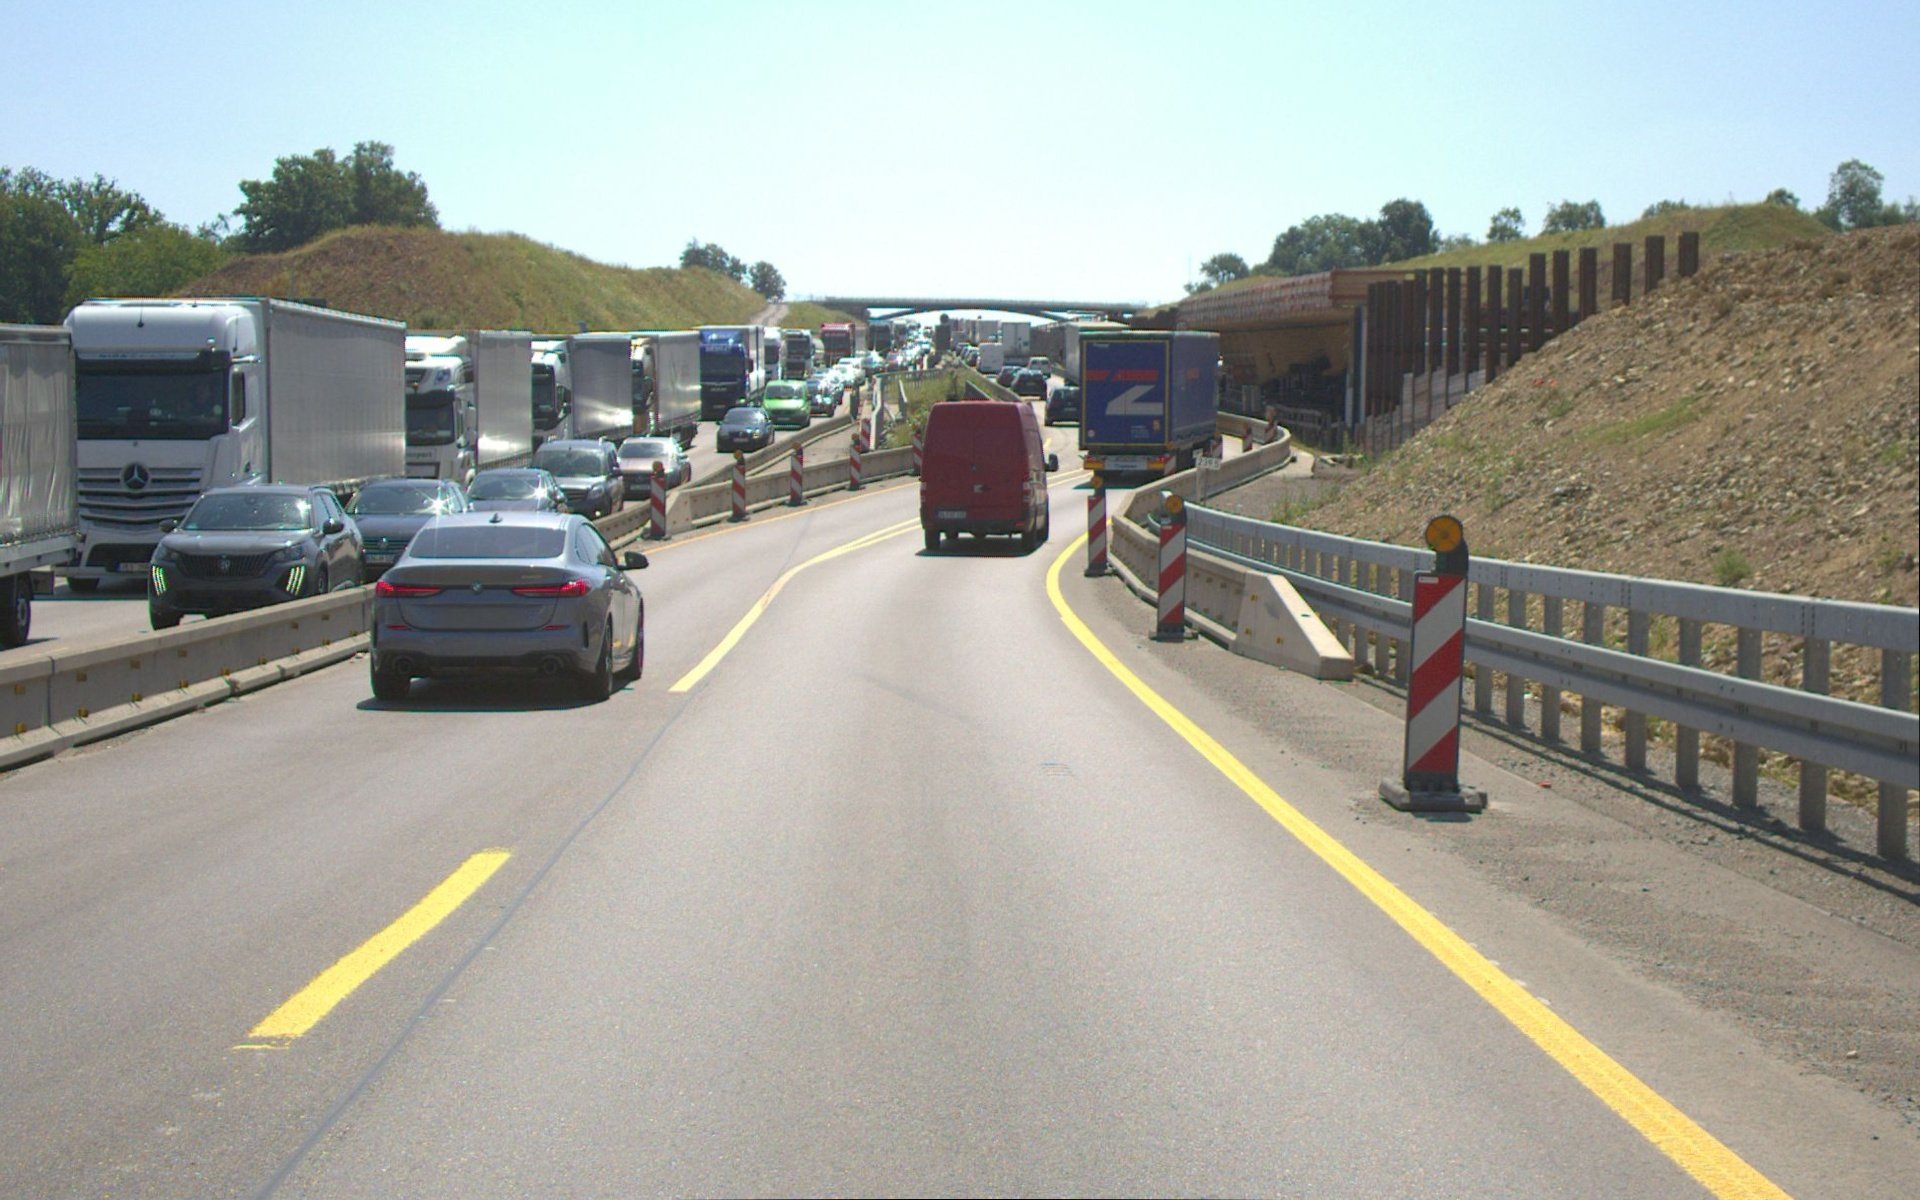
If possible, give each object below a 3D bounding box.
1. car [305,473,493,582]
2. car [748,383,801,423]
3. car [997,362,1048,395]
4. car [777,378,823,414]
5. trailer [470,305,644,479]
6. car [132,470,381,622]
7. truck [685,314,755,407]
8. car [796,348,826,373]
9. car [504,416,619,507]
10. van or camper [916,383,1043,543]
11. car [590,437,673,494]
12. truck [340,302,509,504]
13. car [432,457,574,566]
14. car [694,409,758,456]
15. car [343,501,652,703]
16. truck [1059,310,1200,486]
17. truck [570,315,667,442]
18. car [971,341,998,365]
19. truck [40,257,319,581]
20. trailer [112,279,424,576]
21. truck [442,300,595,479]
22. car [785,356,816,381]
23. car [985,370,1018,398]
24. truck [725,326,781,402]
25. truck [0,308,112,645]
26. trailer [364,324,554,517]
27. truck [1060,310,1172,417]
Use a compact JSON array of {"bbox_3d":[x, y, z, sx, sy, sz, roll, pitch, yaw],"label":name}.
[{"bbox_3d":[-7.809,-1.054,48.226,1.902,1.371,4.547,-2,2,-1],"label":"car"},{"bbox_3d":[-7.508,-7.976,139.517,1.952,1.524,4.268,0,2,-1],"label":"car"},{"bbox_3d":[3.405,-12.021,186.591,2.289,1.525,4.357,-2,1,6],"label":"car"},{"bbox_3d":[-7.239,-9.257,156.164,1.952,1.524,4.268,0,2,-1],"label":"car"},{"bbox_3d":[-11.101,-5.667,95.966,3.042,4.536,12.127,0,2,2],"label":"trailer"},{"bbox_3d":[-7.572,-0.606,37.405,1.827,1.530,4.547,-1,1,-1],"label":"car"},{"bbox_3d":[-10.666,-10.637,153.272,2.887,3.826,8.003,0,2,-3],"label":"truck"},{"bbox_3d":[-10.111,-16.283,233.785,1.952,1.524,4.268,0,2,-1],"label":"car"},{"bbox_3d":[-8.017,-2.774,69.439,1.993,1.777,4.001,0,2,-2],"label":"car"},{"bbox_3d":[0.307,-2.435,61.434,2.029,2.734,4.516,0,2,-2],"label":"van or camper"},{"bbox_3d":[-8.241,-3.365,86.406,1.747,1.404,4.001,0,2,-1],"label":"car"},{"bbox_3d":[-10.867,-3.948,70.166,2.782,3.856,5.462,0,1,-2],"label":"truck"},{"bbox_3d":[-7.702,-1.511,58.240,1.993,1.777,4.001,0,2,-2],"label":"car"},{"bbox_3d":[-8.053,-5.768,118.638,1.952,1.524,4.268,0,2,-1],"label":"car"},{"bbox_3d":[-3.576,-0.028,27.352,1.851,1.447,4.742,1,1,-1],"label":"car"},{"bbox_3d":[4.824,-5.592,96.328,3.022,4.676,6.930,-1,2,10],"label":"truck"},{"bbox_3d":[-10.858,-7.010,109.911,2.683,3.826,7.387,0,2,-3],"label":"truck"},{"bbox_3d":[1.817,-18.390,256.347,1.952,1.635,4.268,0,2,-1],"label":"car"},{"bbox_3d":[-10.818,-2.479,48.253,2.550,4.216,6.531,0,2,-1],"label":"truck"},{"bbox_3d":[-10.873,-2.671,55.400,2.595,4.242,12.469,0,2,0],"label":"trailer"},{"bbox_3d":[-11.383,-5.402,89.095,3.052,4.465,5.980,0,3,1],"label":"truck"},{"bbox_3d":[-10.556,-15.288,227.311,1.952,1.524,4.268,0,2,-1],"label":"car"},{"bbox_3d":[2.572,-13.436,213.923,1.952,1.525,4.268,0,1,-1],"label":"car"},{"bbox_3d":[-11.170,-12.749,186.224,2.887,3.826,8.003,0,2,-3],"label":"truck"},{"bbox_3d":[-10.219,-1.204,33.400,2.433,3.137,7.025,0,2,-2],"label":"truck"},{"bbox_3d":[-10.963,-3.825,76.289,2.783,3.918,11.009,0,1,-1],"label":"trailer"},{"bbox_3d":[8.294,-12.281,180.251,5.161,4.979,13.874,-2,2,5],"label":"truck"}]
